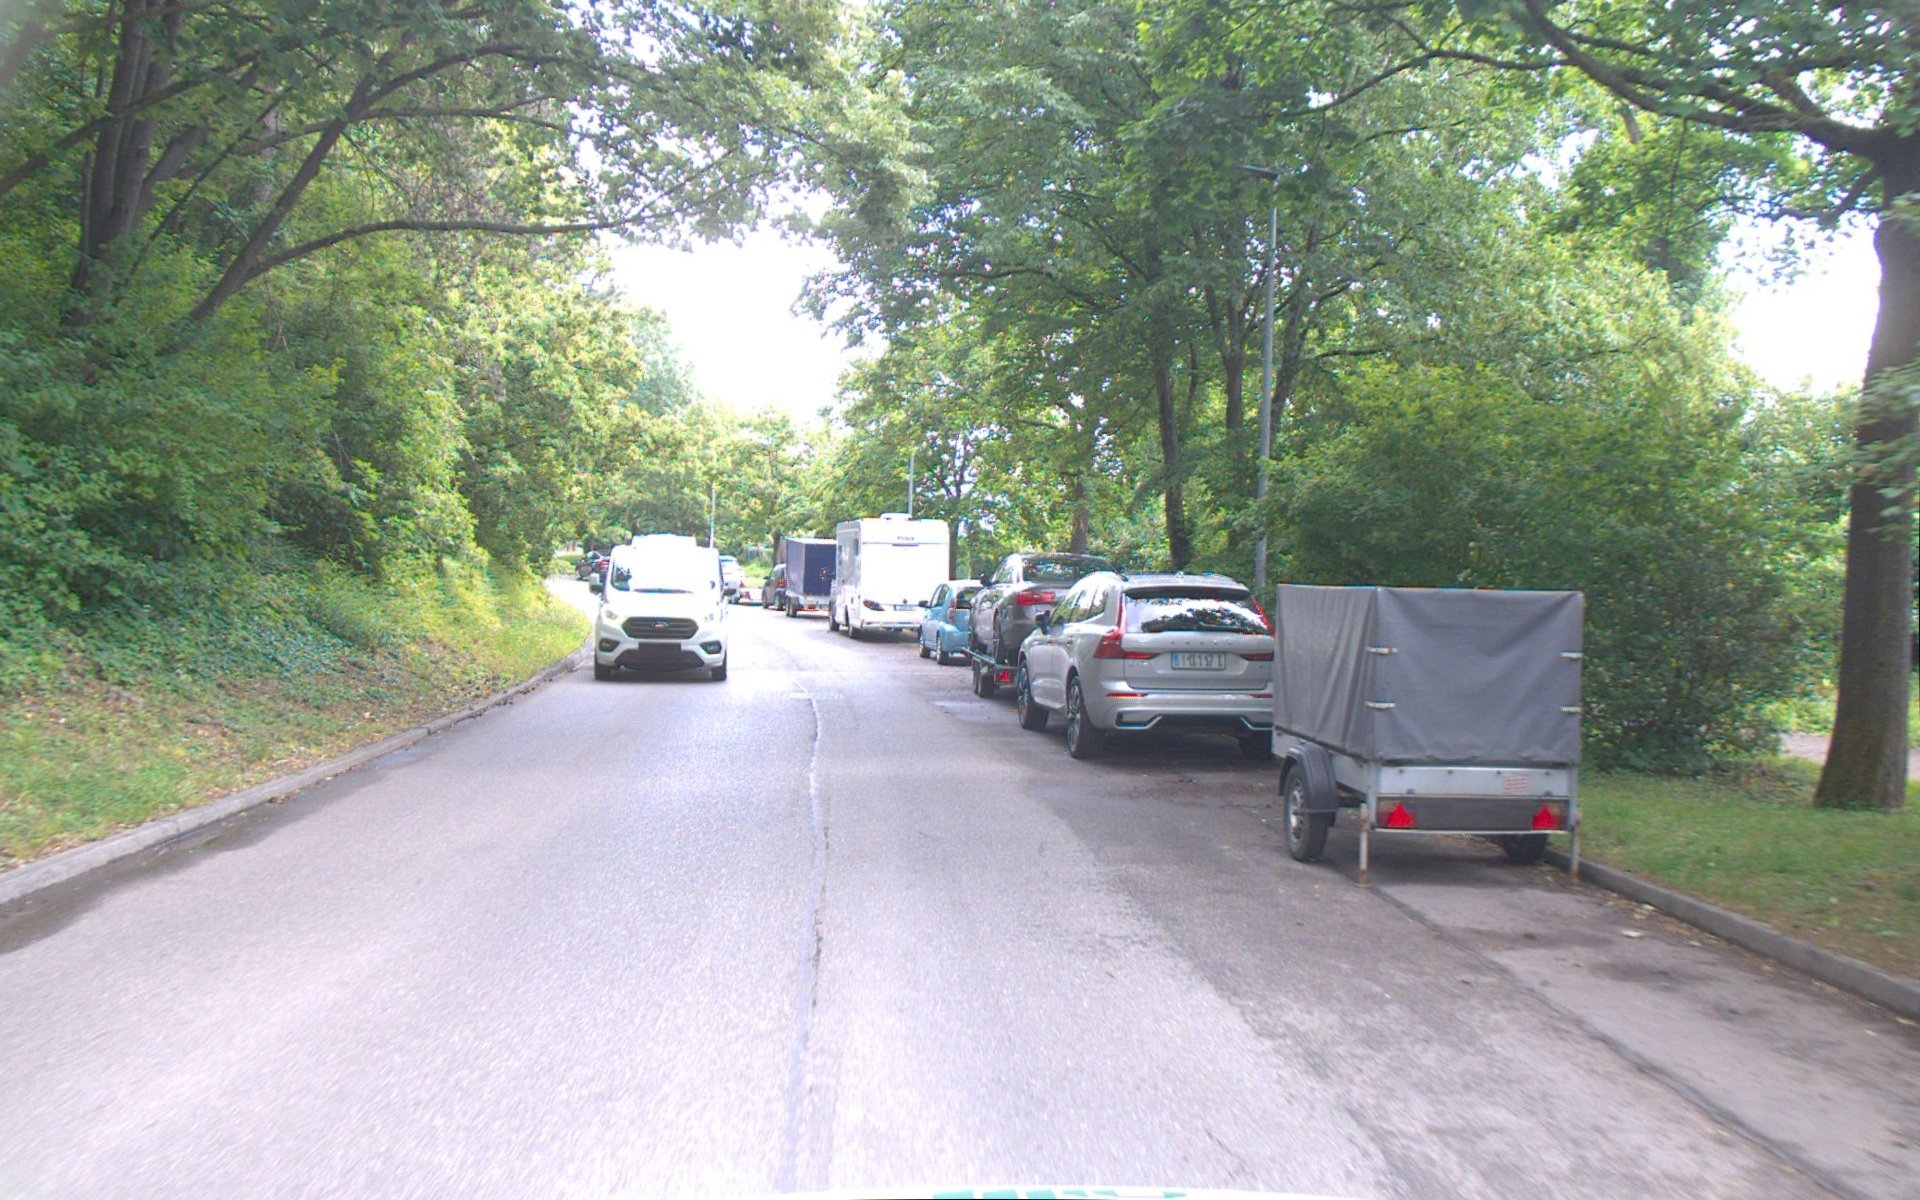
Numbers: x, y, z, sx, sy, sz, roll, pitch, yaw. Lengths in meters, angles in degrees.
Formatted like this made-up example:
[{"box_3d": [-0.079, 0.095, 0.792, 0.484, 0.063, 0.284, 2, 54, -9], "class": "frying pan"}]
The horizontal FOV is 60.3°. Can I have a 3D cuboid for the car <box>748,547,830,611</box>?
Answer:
[{"box_3d": [-6.006, -0.767, 57.695, 1.964, 2.061, 3.979, -1, 3, -19], "class": "car"}]

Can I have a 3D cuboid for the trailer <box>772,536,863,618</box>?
[{"box_3d": [-4.557, -0.735, 52.402, 1.963, 2.440, 3.979, 1, 1, -18], "class": "trailer"}]

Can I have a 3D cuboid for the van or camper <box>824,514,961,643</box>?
[{"box_3d": [-1.840, -0.538, 41.921, 2.437, 2.926, 6.872, 2, 0, -11], "class": "van or camper"}]

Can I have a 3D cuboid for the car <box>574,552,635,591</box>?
[{"box_3d": [-18.764, -1.519, 87.221, 1.974, 1.901, 3.958, -1, 3, -31], "class": "car"}]

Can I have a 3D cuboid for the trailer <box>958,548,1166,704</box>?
[{"box_3d": [1.228, 0.256, 22.346, 1.941, 1.843, 5.142, 1, 1, -6], "class": "trailer"}]

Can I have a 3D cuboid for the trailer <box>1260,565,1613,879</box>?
[{"box_3d": [2.725, 0.633, 9.905, 1.253, 1.612, 2.459, 2, 0, -3], "class": "trailer"}]

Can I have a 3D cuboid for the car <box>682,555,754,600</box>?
[{"box_3d": [-10.338, -0.981, 70.339, 2.008, 1.835, 4.053, 1, 1, -24], "class": "car"}]

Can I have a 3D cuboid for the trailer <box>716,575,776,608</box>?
[{"box_3d": [-7.958, -0.343, 61.366, 1.625, 1.105, 3.983, -1, 2, -16], "class": "trailer"}]

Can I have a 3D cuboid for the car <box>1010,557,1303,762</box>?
[{"box_3d": [1.738, 0.532, 16.185, 1.758, 1.699, 4.494, 1, -1, -8], "class": "car"}]

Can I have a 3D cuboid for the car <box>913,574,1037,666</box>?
[{"box_3d": [0.225, 0.330, 31.659, 1.766, 1.589, 3.828, 1, 1, -9], "class": "car"}]

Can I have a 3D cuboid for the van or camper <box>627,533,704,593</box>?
[{"box_3d": [-13.962, -1.766, 78.213, 2.496, 2.744, 4.538, 0, 2, -26], "class": "van or camper"}]

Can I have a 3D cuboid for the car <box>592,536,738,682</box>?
[{"box_3d": [-4.488, 0.105, 25.755, 1.910, 2.019, 4.495, 2, 1, -7], "class": "car"}]
